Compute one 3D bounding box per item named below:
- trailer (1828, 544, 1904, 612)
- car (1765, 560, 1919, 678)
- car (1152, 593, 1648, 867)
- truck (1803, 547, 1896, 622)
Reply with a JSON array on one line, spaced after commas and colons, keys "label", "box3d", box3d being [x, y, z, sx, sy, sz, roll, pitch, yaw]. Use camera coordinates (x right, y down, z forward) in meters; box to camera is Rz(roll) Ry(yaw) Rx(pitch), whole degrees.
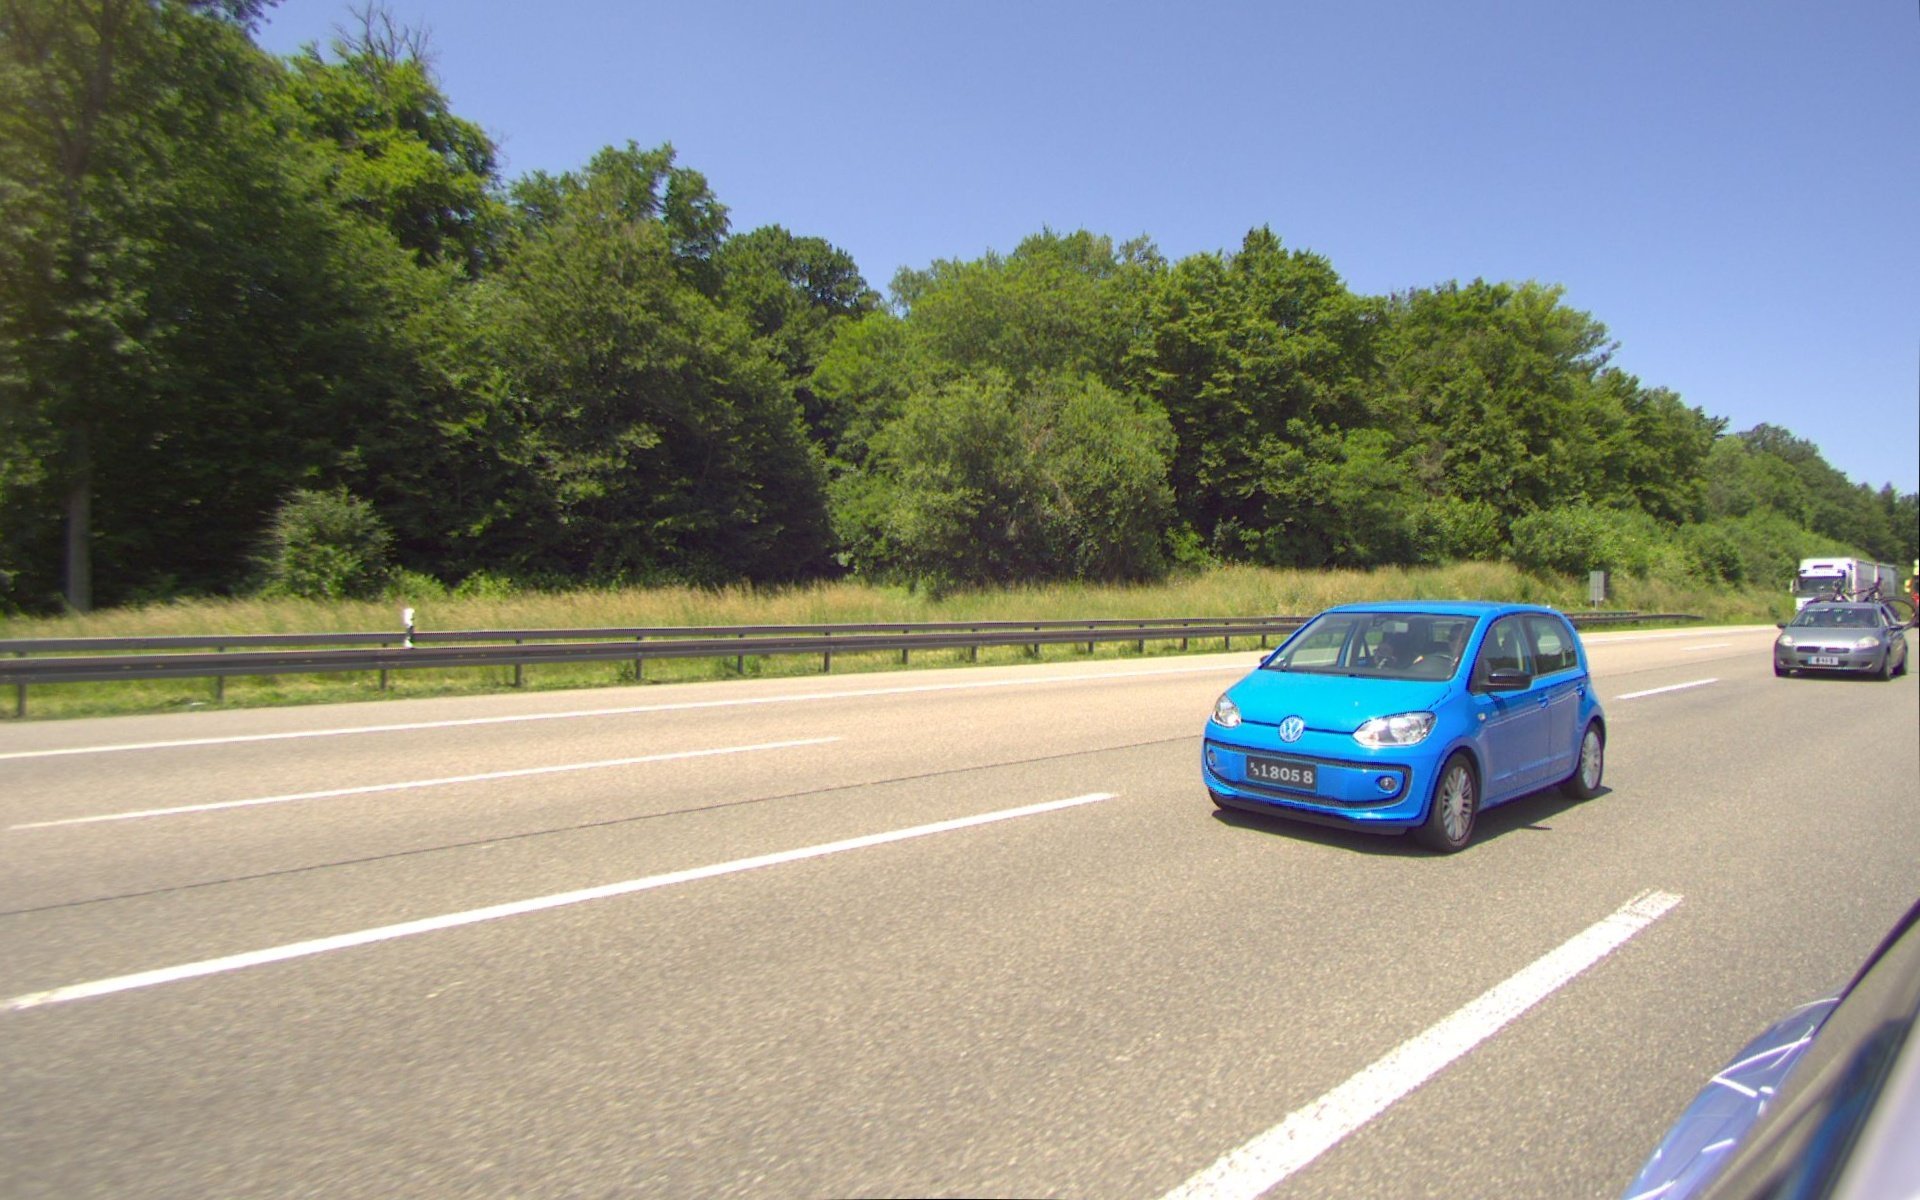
[{"label": "trailer", "box3d": [58.829, -1.332, 65.658, 8.234, 4.122, 2.583, 1, -1, -41]}, {"label": "car", "box3d": [17.812, 0.339, 20.127, 4.699, 2.080, 1.965, 0, 0, -41]}, {"label": "car", "box3d": [3.323, 0.683, 7.300, 3.929, 1.429, 1.741, 0, 1, -40]}, {"label": "truck", "box3d": [54.209, -0.816, 61.549, 10.775, 4.214, 2.727, 1, -1, -41]}]
